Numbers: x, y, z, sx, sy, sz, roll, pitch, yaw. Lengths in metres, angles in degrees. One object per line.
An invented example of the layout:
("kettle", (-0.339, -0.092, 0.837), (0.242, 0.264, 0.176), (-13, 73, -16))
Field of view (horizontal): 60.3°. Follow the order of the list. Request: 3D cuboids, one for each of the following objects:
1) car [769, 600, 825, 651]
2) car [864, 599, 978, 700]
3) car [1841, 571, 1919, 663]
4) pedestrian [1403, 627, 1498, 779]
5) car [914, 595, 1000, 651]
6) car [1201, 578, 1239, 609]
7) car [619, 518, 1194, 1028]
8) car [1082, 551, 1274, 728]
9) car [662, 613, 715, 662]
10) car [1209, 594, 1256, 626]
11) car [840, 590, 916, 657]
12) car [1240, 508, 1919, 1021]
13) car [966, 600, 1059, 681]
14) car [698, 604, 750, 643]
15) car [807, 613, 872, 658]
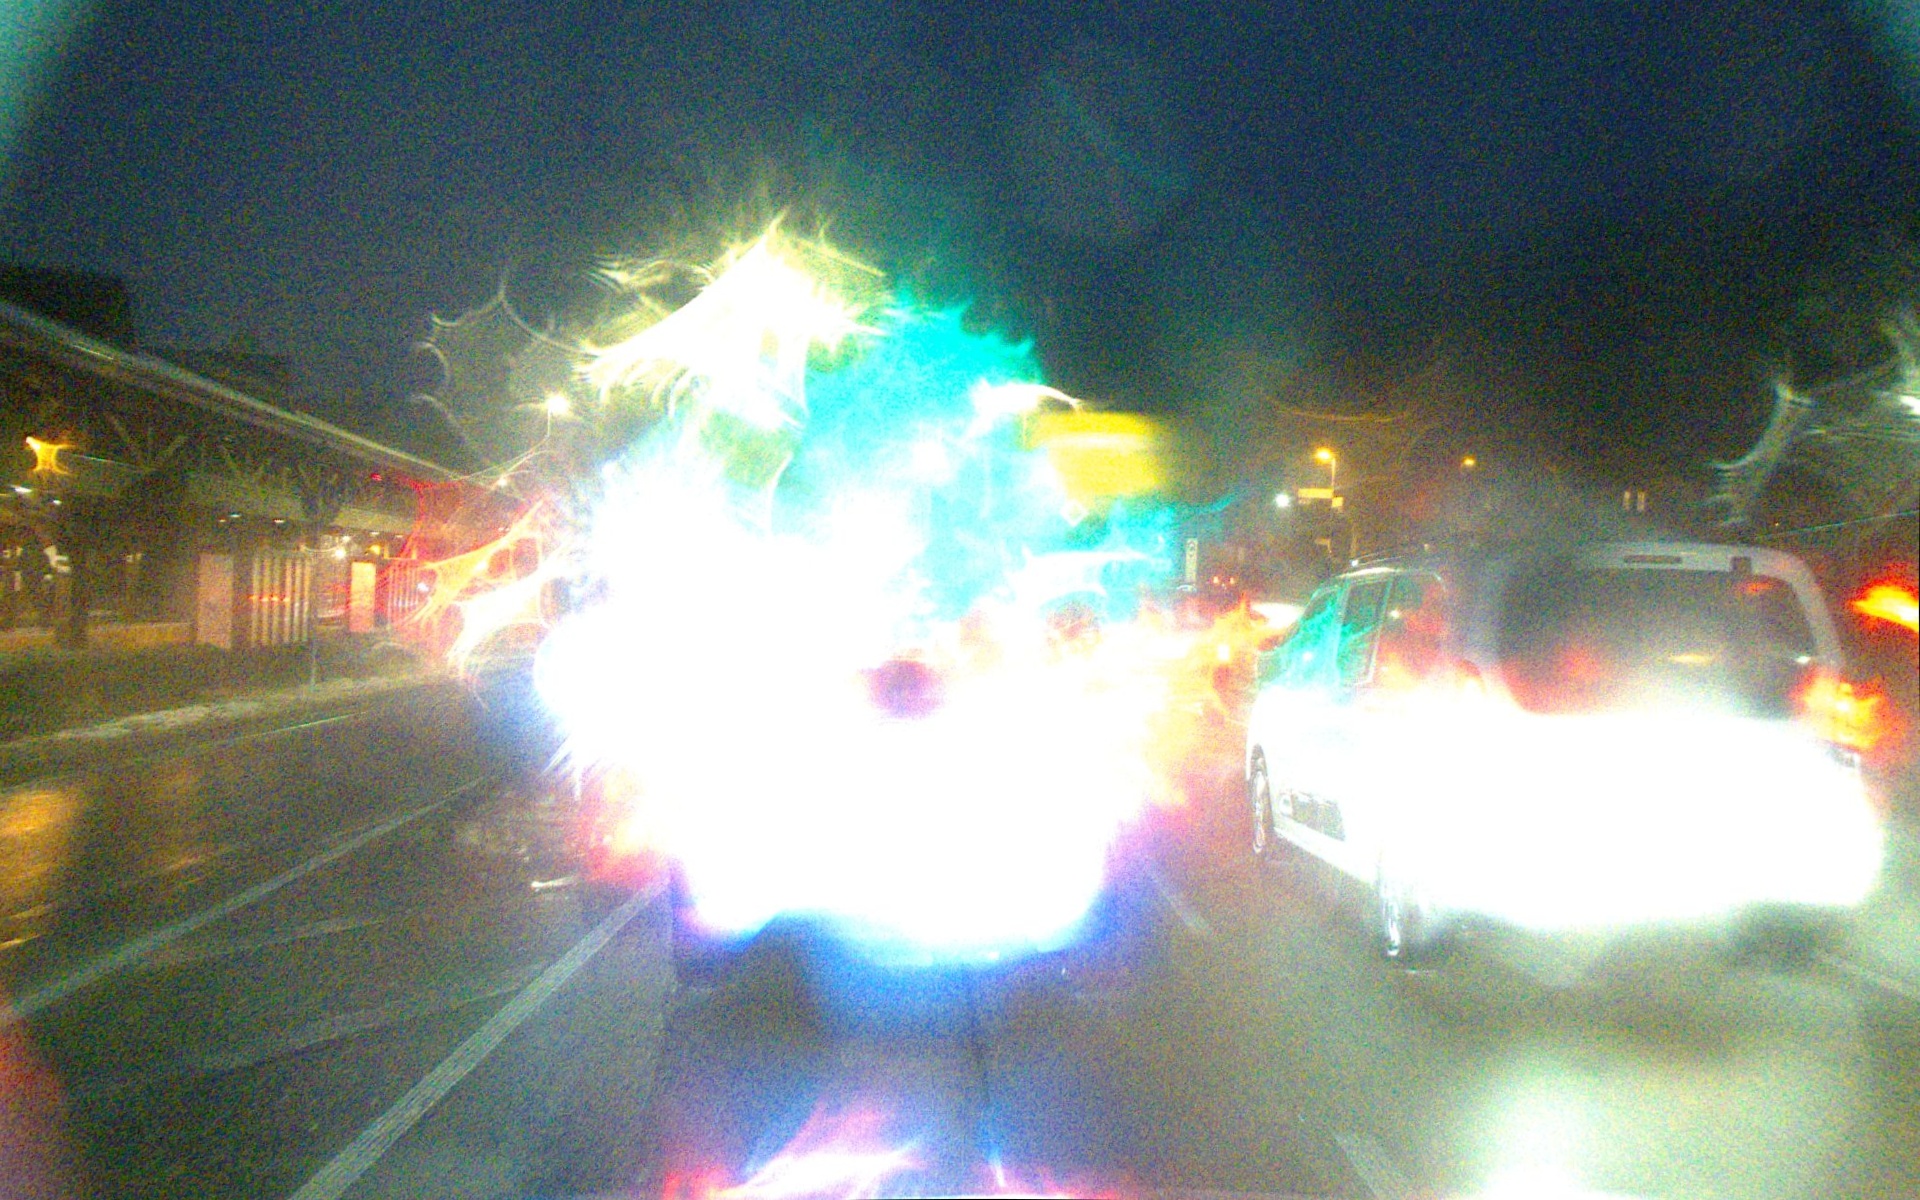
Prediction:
("car", (-6.254, 0.957, 63.175), (1.956, 1.856, 3.993), (1, -1, -8))
("car", (-0.708, 0.879, 30.831), (1.953, 1.713, 3.999), (1, -1, -1))
("car", (16.952, 0.332, 29.137), (1.685, 1.509, 4.708), (1, -1, 18))
("pedestrian", (5.748, 1.198, 19.387), (0.855, 1.731, 0.613), (3, -2, -29))
("car", (-0.144, 0.735, 54.110), (1.959, 1.699, 3.987), (1, -1, -13))
("car", (18.164, -0.441, 115.650), (1.953, 2.049, 3.999), (1, -1, -1))
("car", (-0.327, 0.631, 8.003), (1.975, 1.747, 4.448), (1, -1, -4))
("car", (2.772, 0.494, 21.896), (1.929, 2.083, 3.999), (1, -1, -1))
("car", (-12.336, 1.664, 74.915), (1.980, 1.919, 4.436), (2, 1, -14))
("car", (14.708, 0.555, 89.568), (1.827, 1.675, 3.962), (-1, 0, 0))
("car", (-2.352, 0.642, 46.345), (1.955, 1.763, 3.996), (1, -1, -5))
("car", (2.748, 0.641, 8.417), (1.814, 1.898, 4.339), (1, -1, -1))
("car", (1.179, 0.920, 38.853), (1.953, 1.748, 3.999), (1, -1, -1))
("car", (-11.798, 1.160, 82.604), (1.962, 1.856, 3.981), (2, -1, -17))
("car", (-5.247, 1.515, 71.560), (1.961, 1.852, 3.982), (2, -1, -16))
